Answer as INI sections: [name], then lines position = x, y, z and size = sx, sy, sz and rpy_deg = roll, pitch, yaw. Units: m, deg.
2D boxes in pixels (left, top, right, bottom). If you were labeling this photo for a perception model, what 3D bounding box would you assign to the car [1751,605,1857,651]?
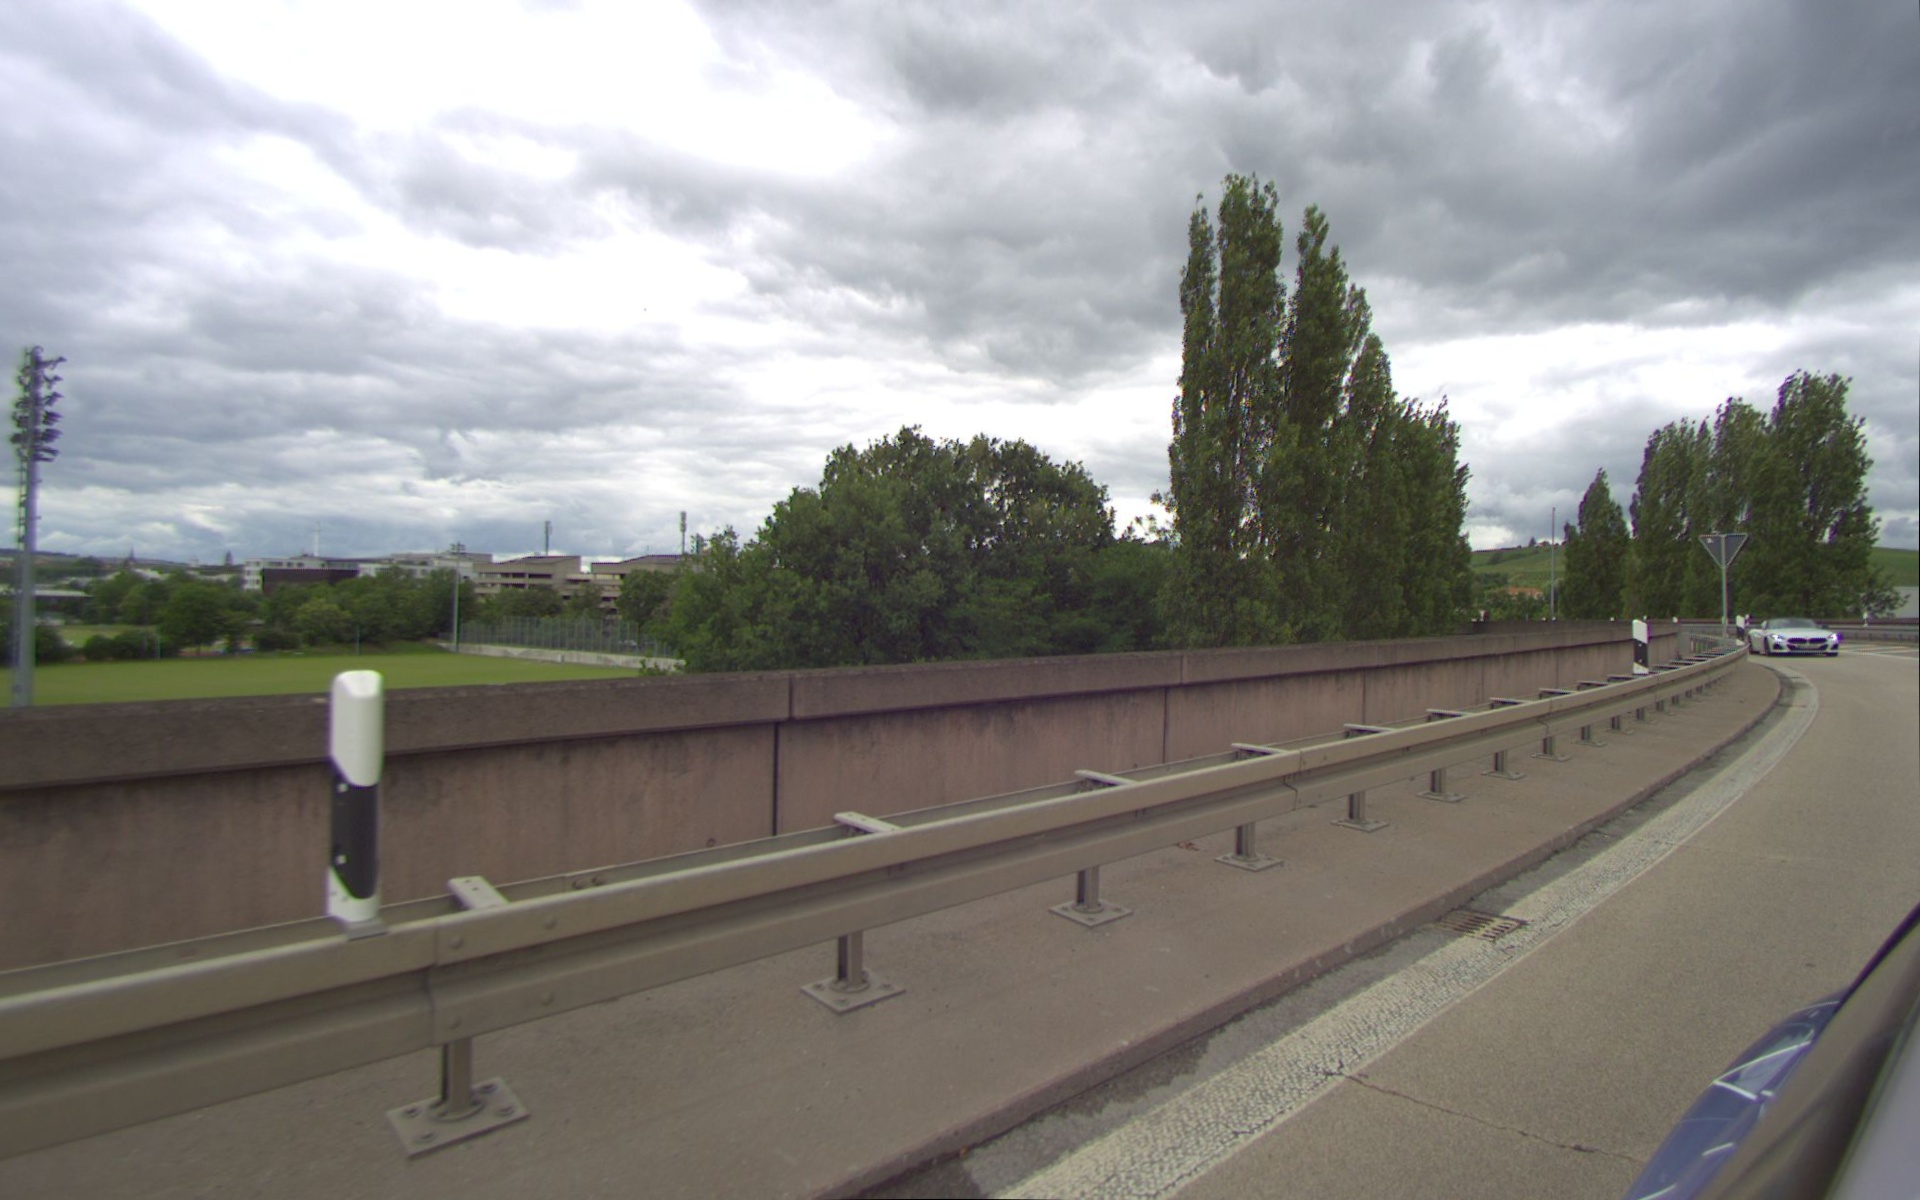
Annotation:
[car]
position = 28.549, 0.919, 34.394
size = 1.847, 1.362, 4.775
rpy_deg = -3, -1, 29
